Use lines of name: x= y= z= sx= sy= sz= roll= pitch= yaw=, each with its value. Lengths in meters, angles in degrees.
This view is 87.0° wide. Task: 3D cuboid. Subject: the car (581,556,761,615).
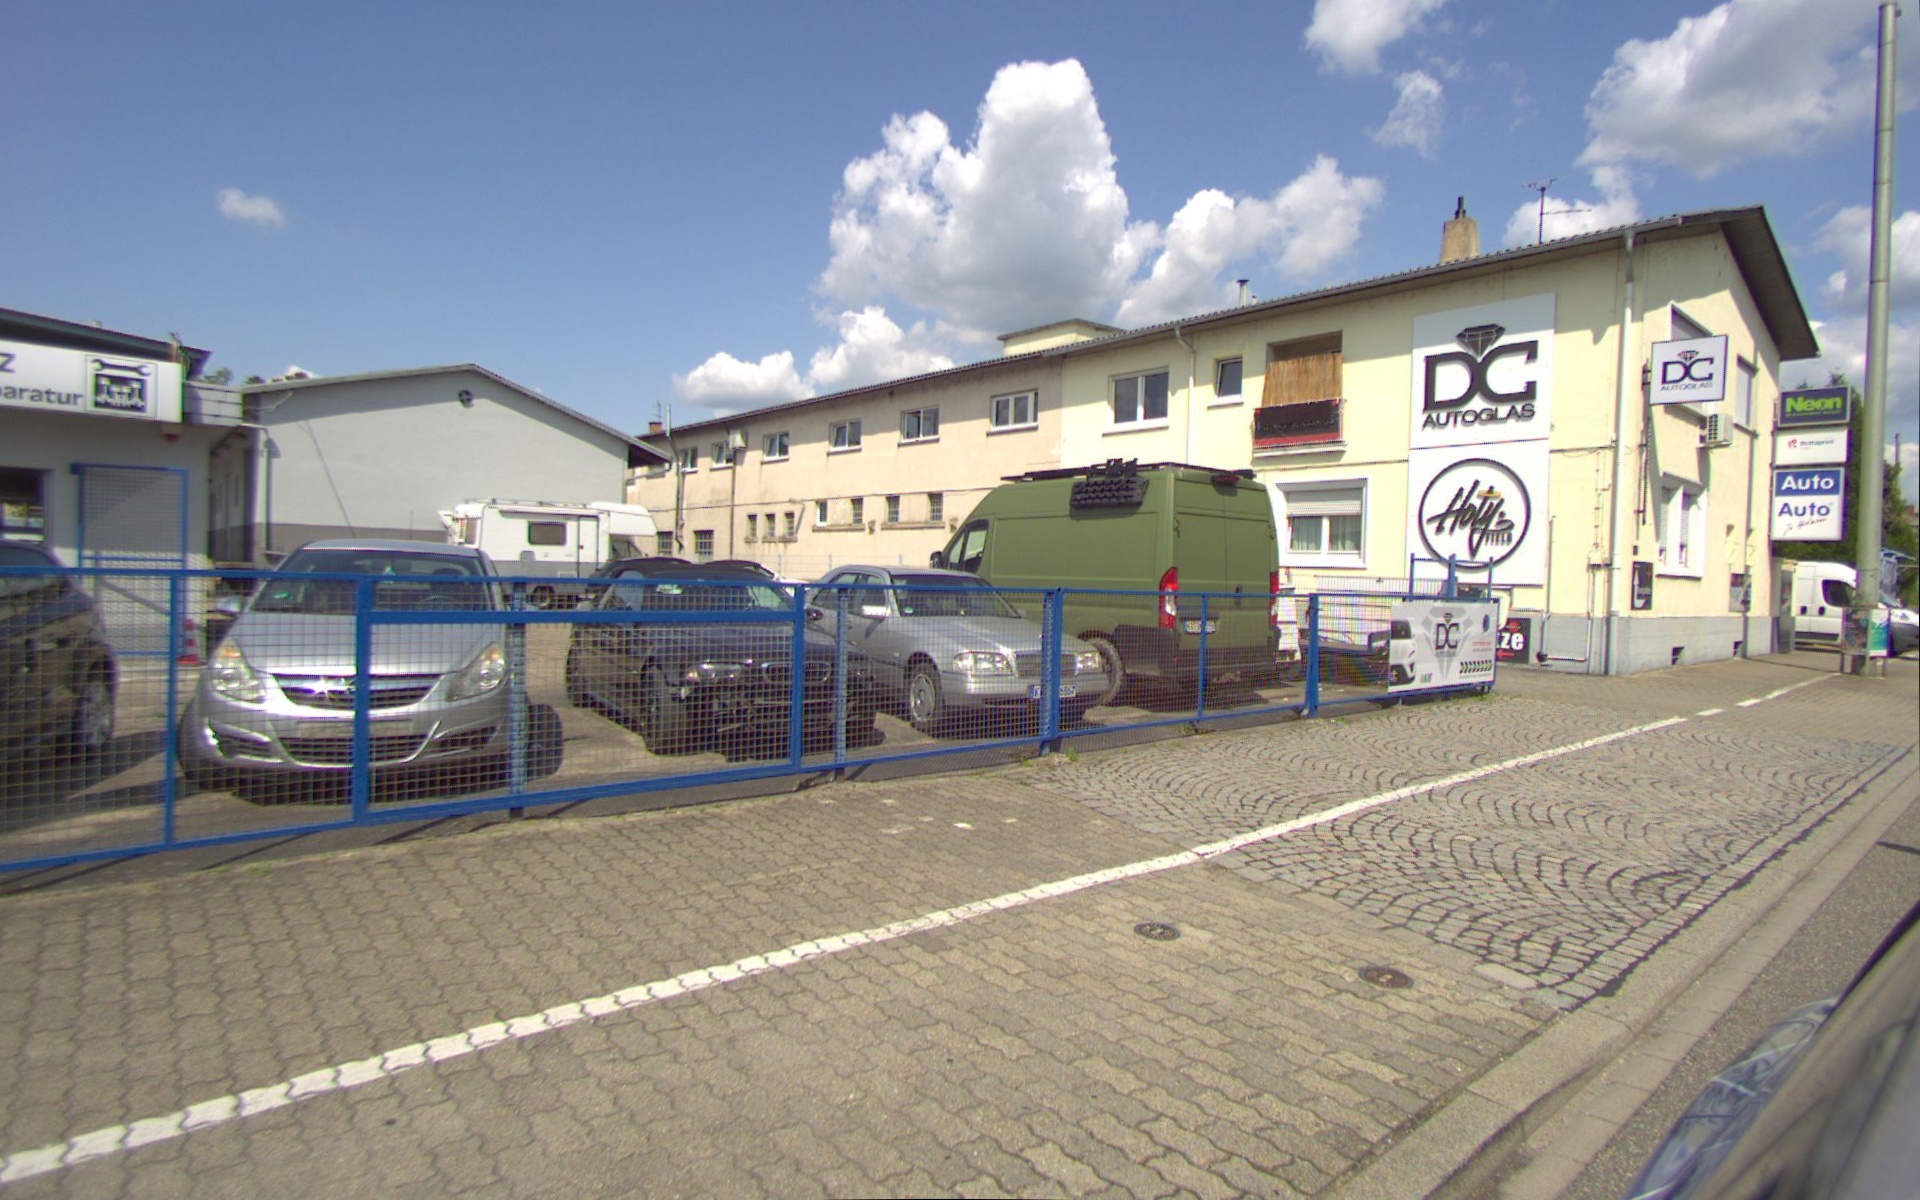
car: x=-7.305 y=-0.360 z=25.804 sx=4.112 sy=1.378 sz=1.645 roll=0 pitch=2 yaw=-41

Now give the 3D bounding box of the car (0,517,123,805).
car: x=-5.641 y=0.302 z=4.860 sx=1.606 sy=1.470 sz=3.700 roll=1 pitch=2 yaw=-25

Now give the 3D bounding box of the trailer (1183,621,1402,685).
trailer: x=4.751 y=0.723 z=14.644 sx=1.307 sy=0.674 sz=2.730 roll=0 pitch=2 yaw=-42

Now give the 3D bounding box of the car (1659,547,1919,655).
car: x=22.786 y=-0.080 z=27.467 sx=2.055 sy=2.493 sz=5.838 roll=0 pitch=4 yaw=-39

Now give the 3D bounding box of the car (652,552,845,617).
car: x=-4.842 y=-0.350 z=23.541 sx=4.112 sy=1.378 sz=1.645 roll=0 pitch=2 yaw=-41

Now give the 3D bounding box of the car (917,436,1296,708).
car: x=1.589 y=-0.352 z=12.249 sx=2.075 sy=2.675 sz=4.208 roll=1 pitch=2 yaw=-39

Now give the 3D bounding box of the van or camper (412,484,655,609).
van or camper: x=-11.302 y=-1.325 z=27.104 sx=5.556 sy=3.002 sz=2.272 roll=0 pitch=2 yaw=-42

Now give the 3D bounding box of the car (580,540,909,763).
car: x=-2.127 y=0.272 z=8.891 sx=1.737 sy=1.470 sz=4.128 roll=1 pitch=2 yaw=-28

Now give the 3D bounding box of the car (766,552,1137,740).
car: x=-0.337 y=0.285 z=10.196 sx=1.679 sy=1.470 sz=4.292 roll=1 pitch=2 yaw=-33

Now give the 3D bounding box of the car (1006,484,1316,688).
car: x=2.649 y=-0.248 z=14.241 sx=1.557 sy=2.436 sz=4.208 roll=1 pitch=2 yaw=-39

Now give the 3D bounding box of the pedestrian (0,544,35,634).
pedestrian: x=-13.160 y=-0.158 z=13.875 sx=0.652 sy=1.224 sz=0.566 roll=1 pitch=1 yaw=-39

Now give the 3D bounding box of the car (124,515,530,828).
car: x=-3.897 y=0.279 z=6.834 sx=1.736 sy=1.470 sz=3.778 roll=1 pitch=2 yaw=-24
